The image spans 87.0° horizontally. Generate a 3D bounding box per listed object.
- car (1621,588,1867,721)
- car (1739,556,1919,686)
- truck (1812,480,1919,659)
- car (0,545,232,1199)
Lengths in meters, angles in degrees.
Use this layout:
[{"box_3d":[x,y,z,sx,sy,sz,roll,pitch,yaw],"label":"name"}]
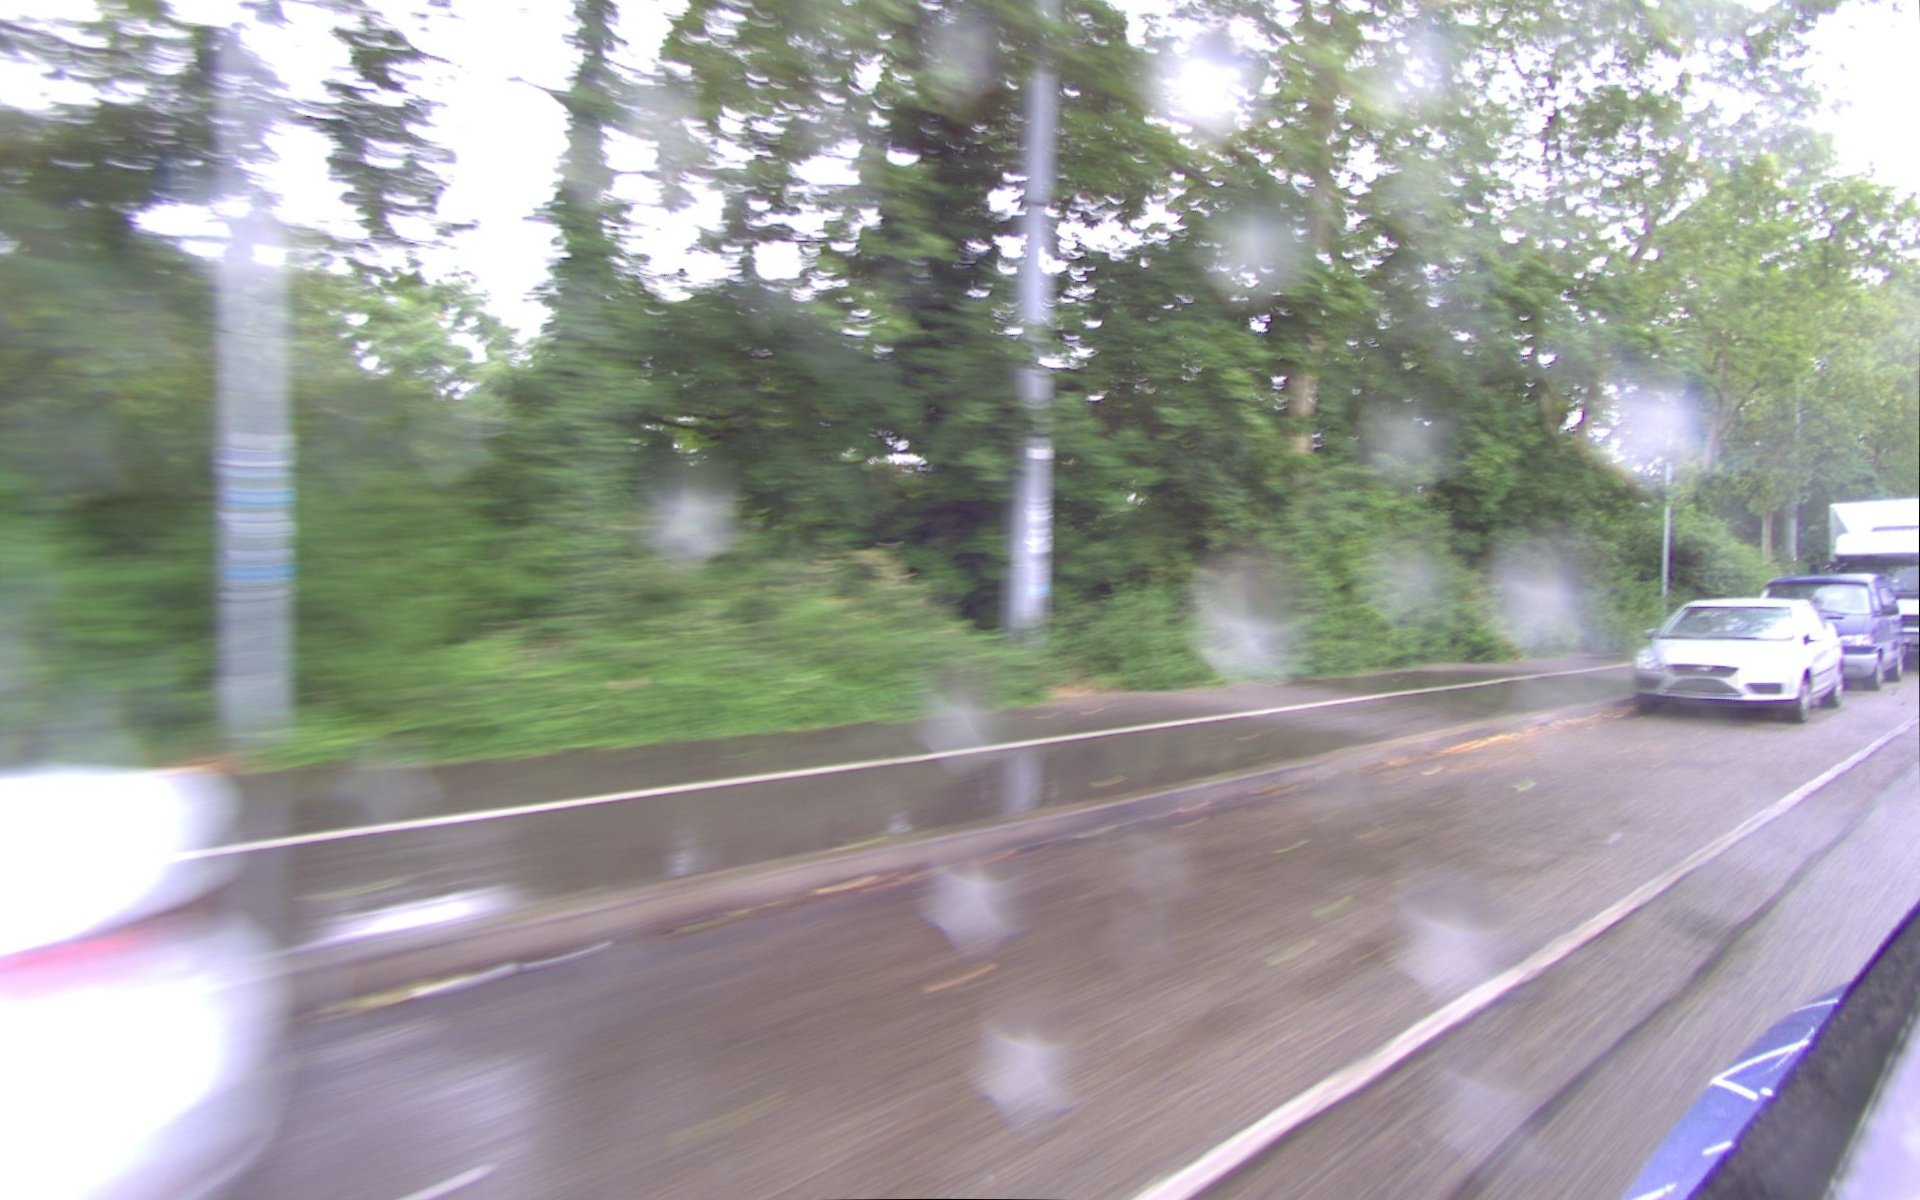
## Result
[{"box_3d":[10.599,0.602,13.566,4.270,1.478,1.816,-1,0,-41],"label":"car"},{"box_3d":[15.775,0.319,18.181,4.893,2.039,1.879,0,0,-41],"label":"car"},{"box_3d":[23.412,-0.724,24.618,9.684,3.750,2.780,-1,2,-42],"label":"truck"},{"box_3d":[-3.468,0.679,0.943,4.402,1.505,1.822,0,0,-41],"label":"car"}]
